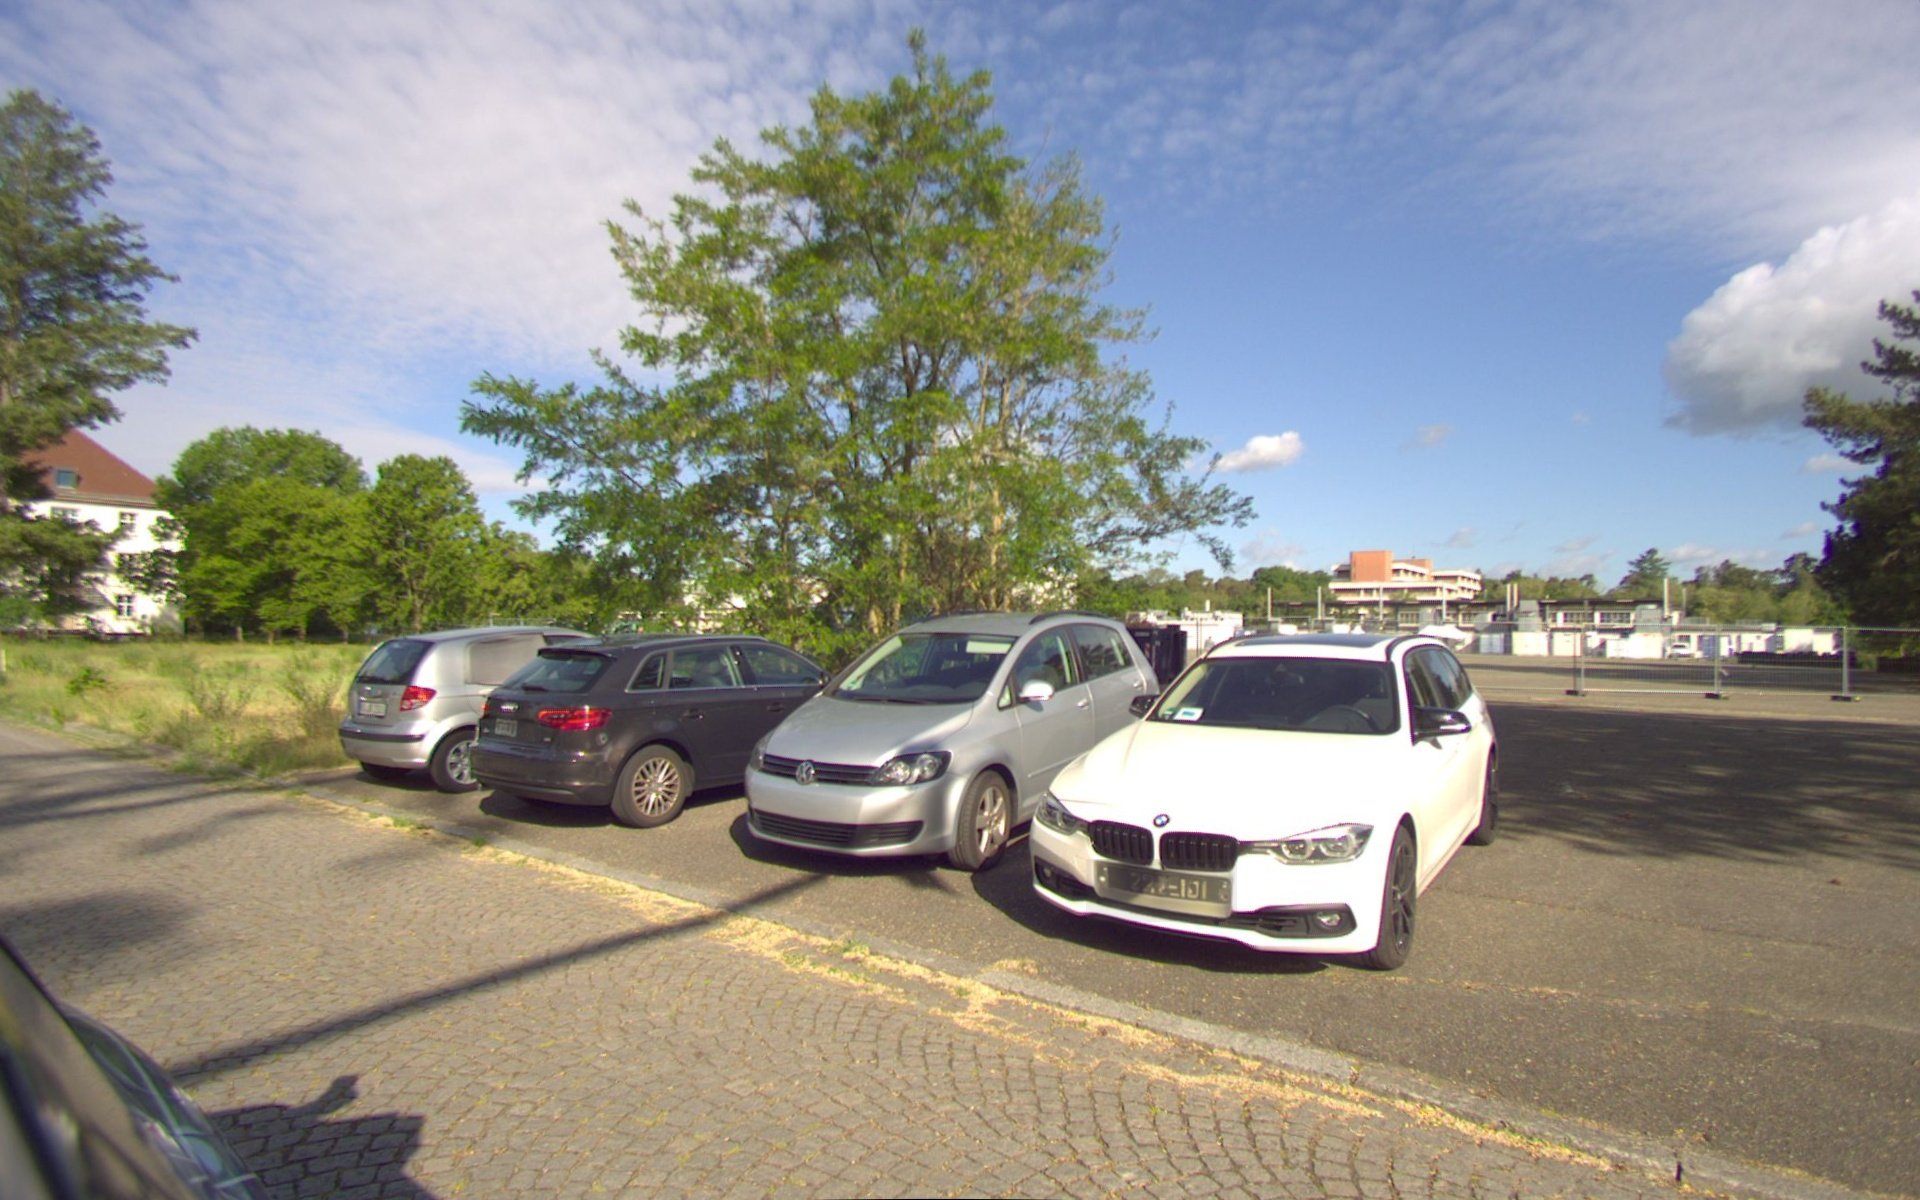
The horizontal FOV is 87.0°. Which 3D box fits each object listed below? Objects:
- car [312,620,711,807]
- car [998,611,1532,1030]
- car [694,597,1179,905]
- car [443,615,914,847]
[{"bbox_3d":[-4.478,1.004,10.503,1.633,1.482,3.434,-1,0,35],"label":"car"},{"bbox_3d":[2.197,0.858,6.127,1.749,1.478,4.501,-2,0,35],"label":"car"},{"bbox_3d":[0.099,0.826,7.607,1.717,1.638,3.911,-1,0,34],"label":"car"},{"bbox_3d":[-2.266,0.931,8.955,1.685,1.482,3.761,-1,0,37],"label":"car"}]
